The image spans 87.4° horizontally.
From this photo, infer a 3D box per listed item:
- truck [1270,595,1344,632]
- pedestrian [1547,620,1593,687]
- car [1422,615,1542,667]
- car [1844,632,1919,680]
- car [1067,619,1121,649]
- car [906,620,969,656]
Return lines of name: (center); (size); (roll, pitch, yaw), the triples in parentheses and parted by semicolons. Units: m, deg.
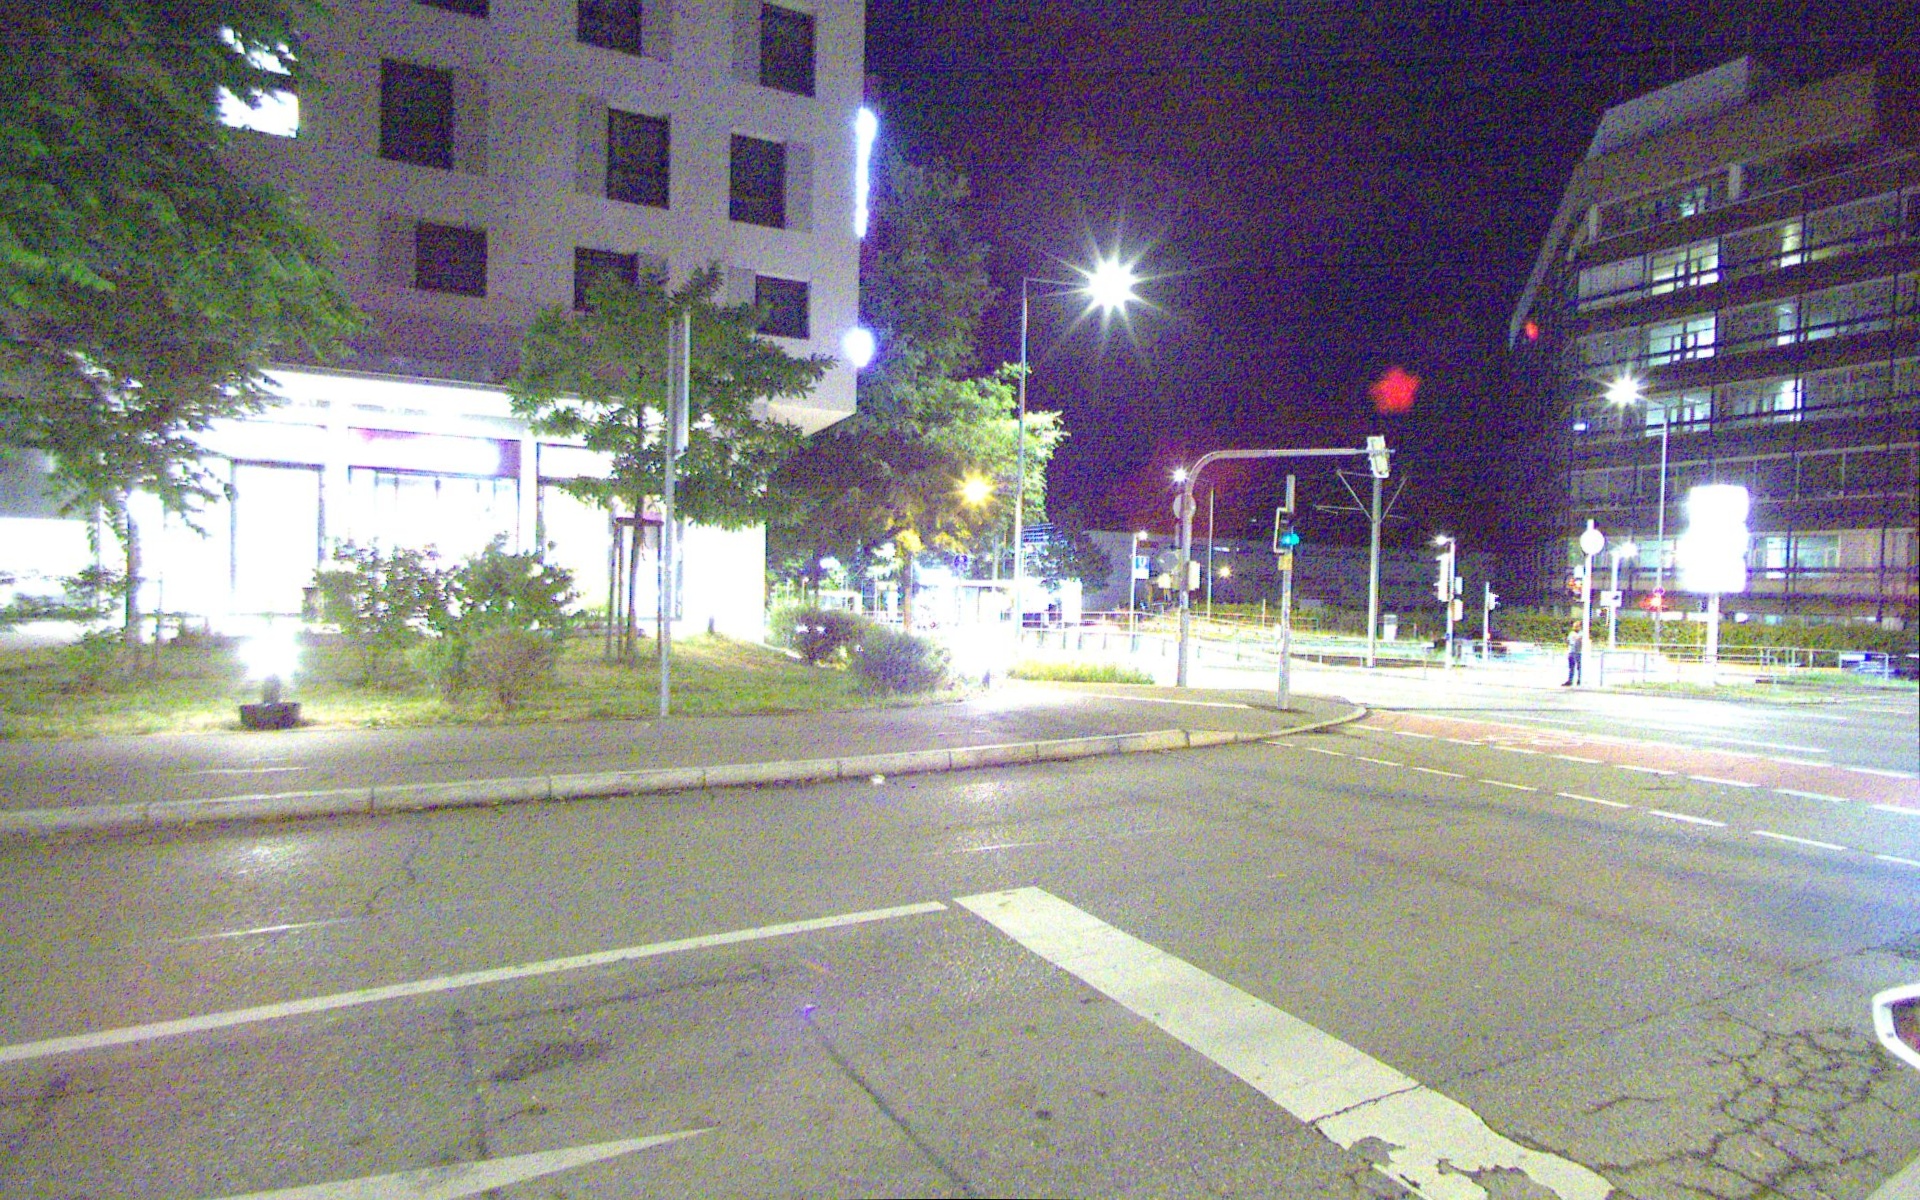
truck: (30.848, 1.175, 89.494); (2.877, 3.129, 5.873); (2, 0, -28)
pedestrian: (15.565, 1.361, 25.625); (0.854, 1.656, 0.665); (2, 1, -34)
car: (21.912, 1.690, 42.320); (1.820, 1.837, 4.134); (3, 1, -29)
car: (30.582, 1.815, 31.441); (1.843, 1.405, 3.969); (3, 0, -29)
car: (9.407, 2.433, 70.846); (1.973, 2.040, 3.977); (2, -3, -24)
car: (-1.178, 1.855, 50.407); (1.847, 1.705, 4.277); (0, -1, -20)
